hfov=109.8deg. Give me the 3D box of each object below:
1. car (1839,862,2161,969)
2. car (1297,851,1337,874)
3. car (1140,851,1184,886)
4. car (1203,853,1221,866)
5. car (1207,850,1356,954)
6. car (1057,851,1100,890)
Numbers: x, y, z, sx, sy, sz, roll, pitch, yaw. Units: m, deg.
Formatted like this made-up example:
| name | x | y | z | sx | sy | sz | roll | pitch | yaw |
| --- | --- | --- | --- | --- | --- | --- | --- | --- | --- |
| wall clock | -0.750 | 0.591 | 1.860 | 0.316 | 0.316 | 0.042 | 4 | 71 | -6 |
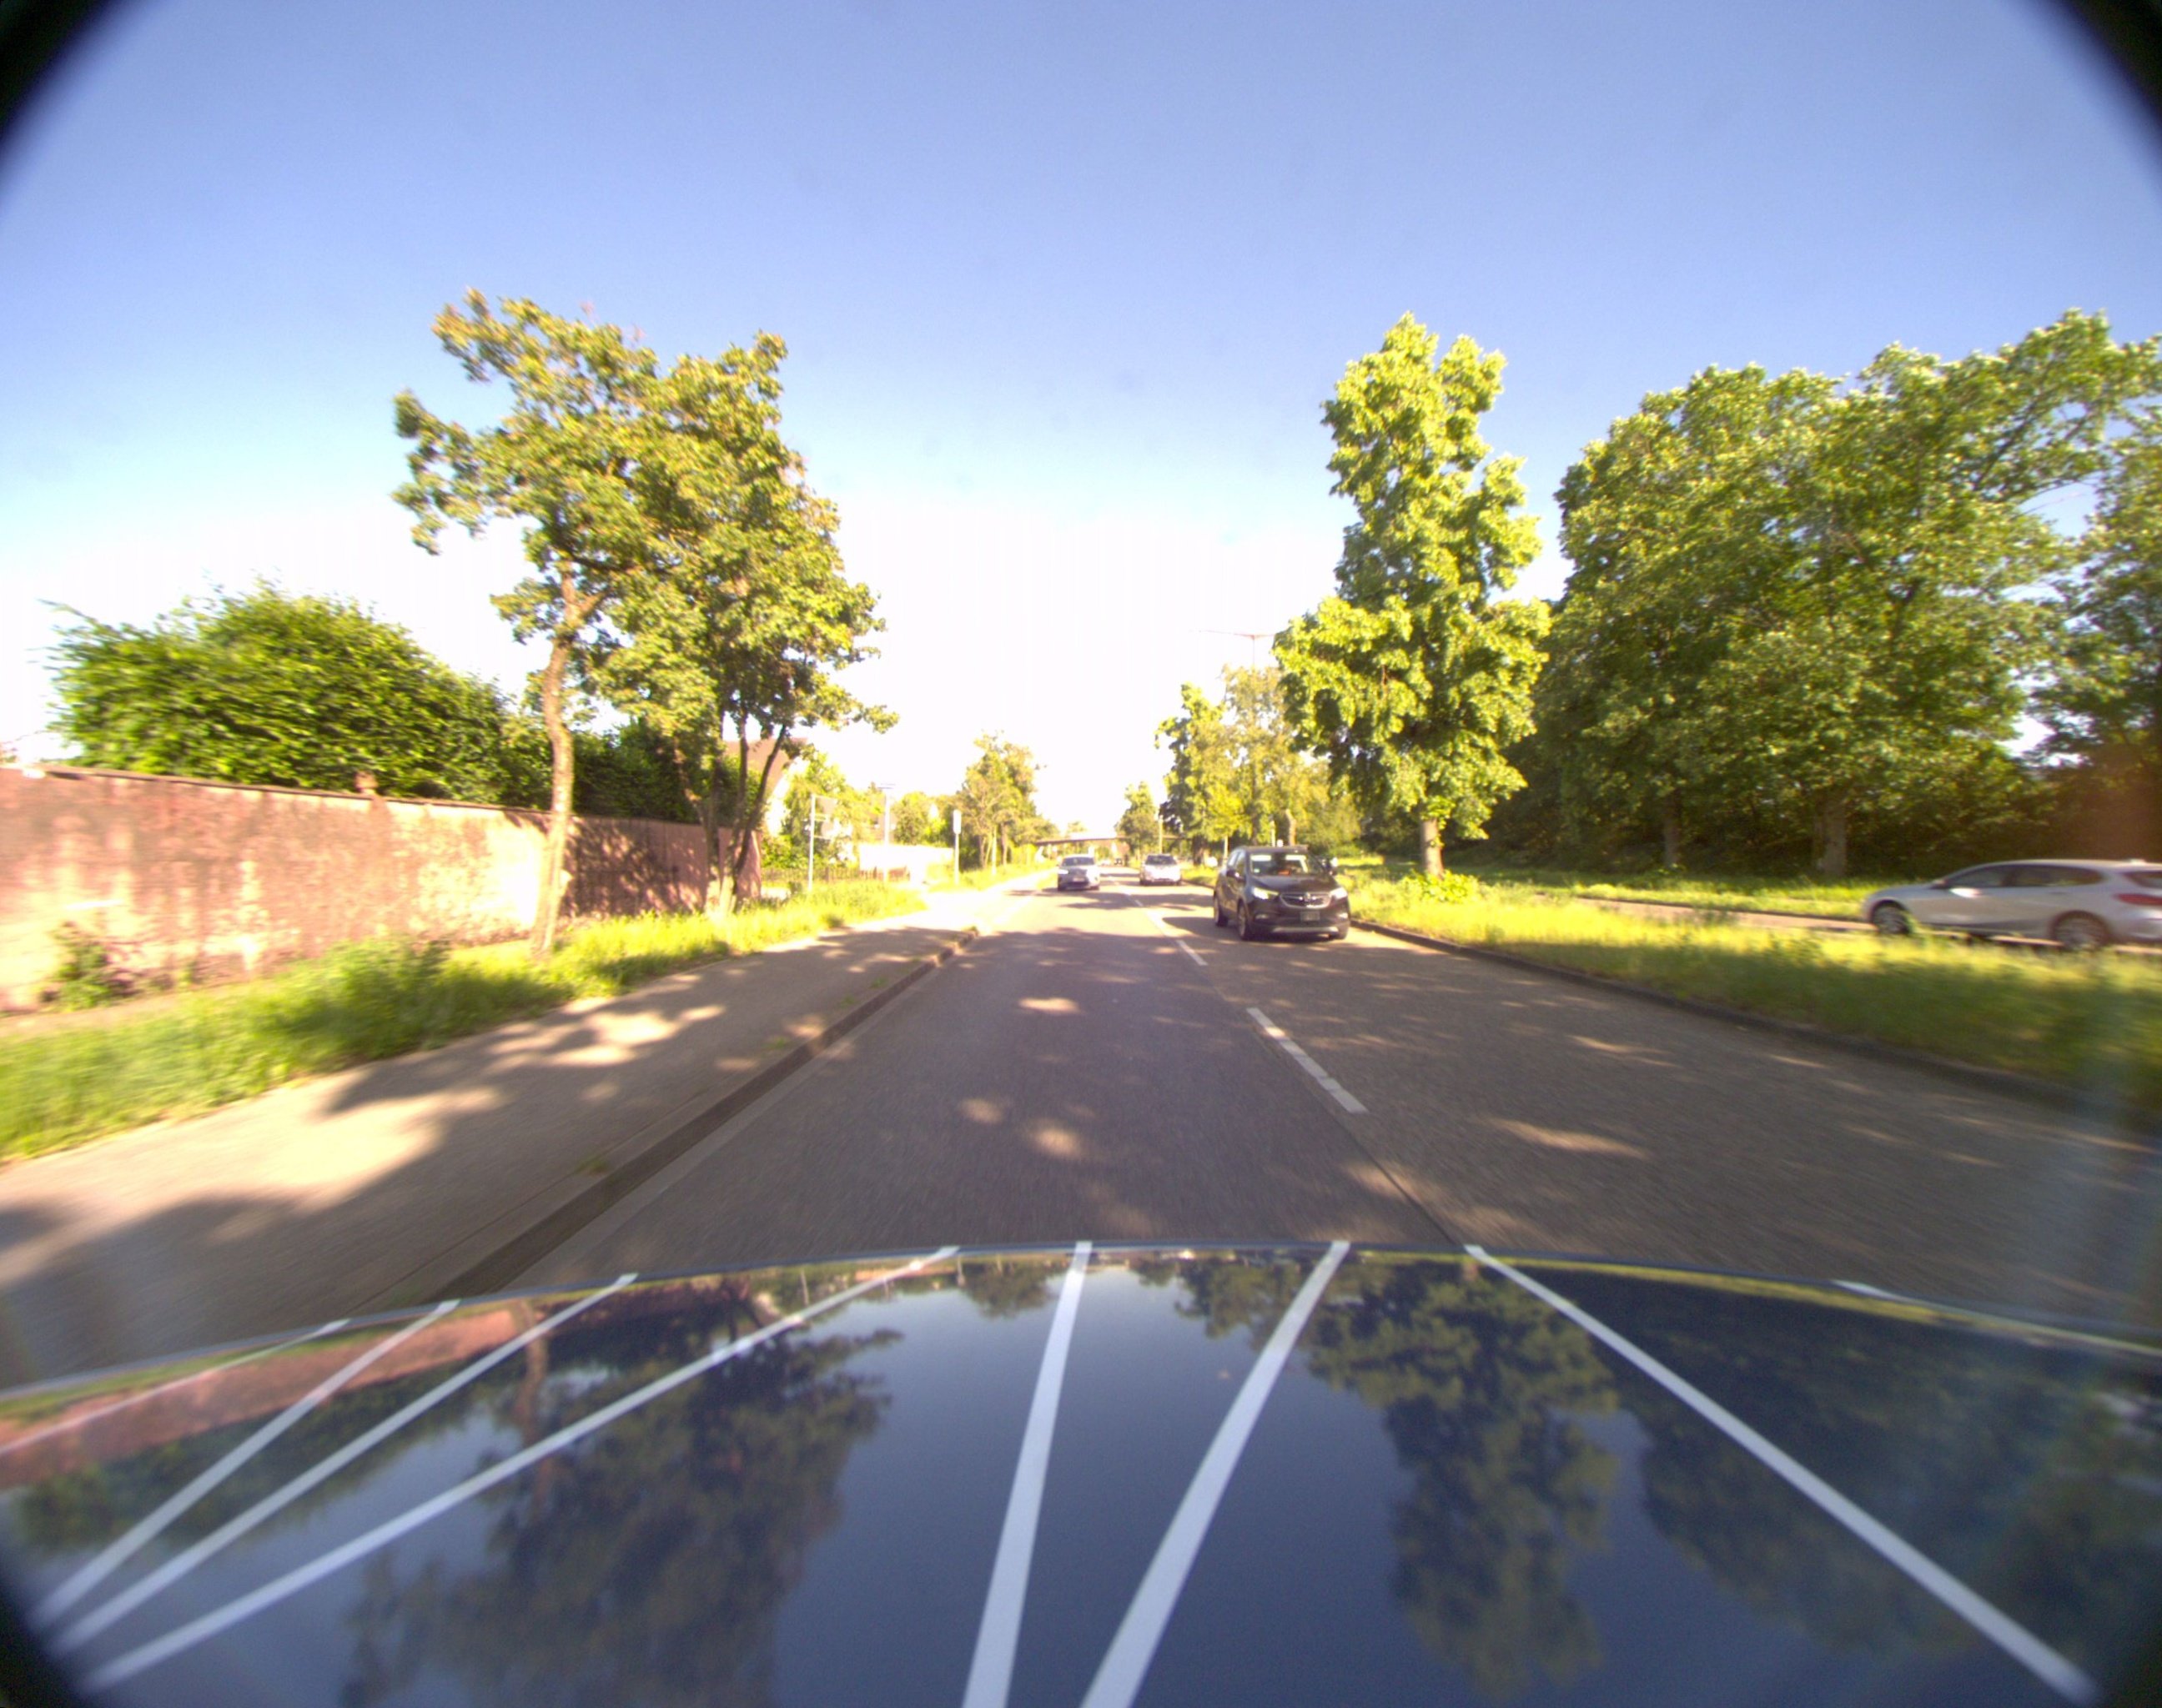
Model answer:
| name | x | y | z | sx | sy | sz | roll | pitch | yaw |
| --- | --- | --- | --- | --- | --- | --- | --- | --- | --- |
| car | 15.803 | 0.897 | 12.799 | 1.730 | 1.448 | 4.346 | 1 | 0 | 1 |
| car | 16.935 | 0.607 | 54.658 | 1.733 | 1.569 | 3.747 | 1 | 0 | 1 |
| car | 3.930 | 0.680 | 37.473 | 1.789 | 1.601 | 4.105 | 0 | 1 | 1 |
| car | 17.065 | 0.706 | 98.948 | 1.733 | 1.569 | 3.747 | 1 | 0 | 1 |
| car | 3.547 | 0.752 | 14.257 | 1.700 | 1.622 | 4.417 | 0 | 1 | 1 |
| car | -0.059 | 0.715 | 34.460 | 1.766 | 1.606 | 4.297 | -2 | 0 | 1 |
